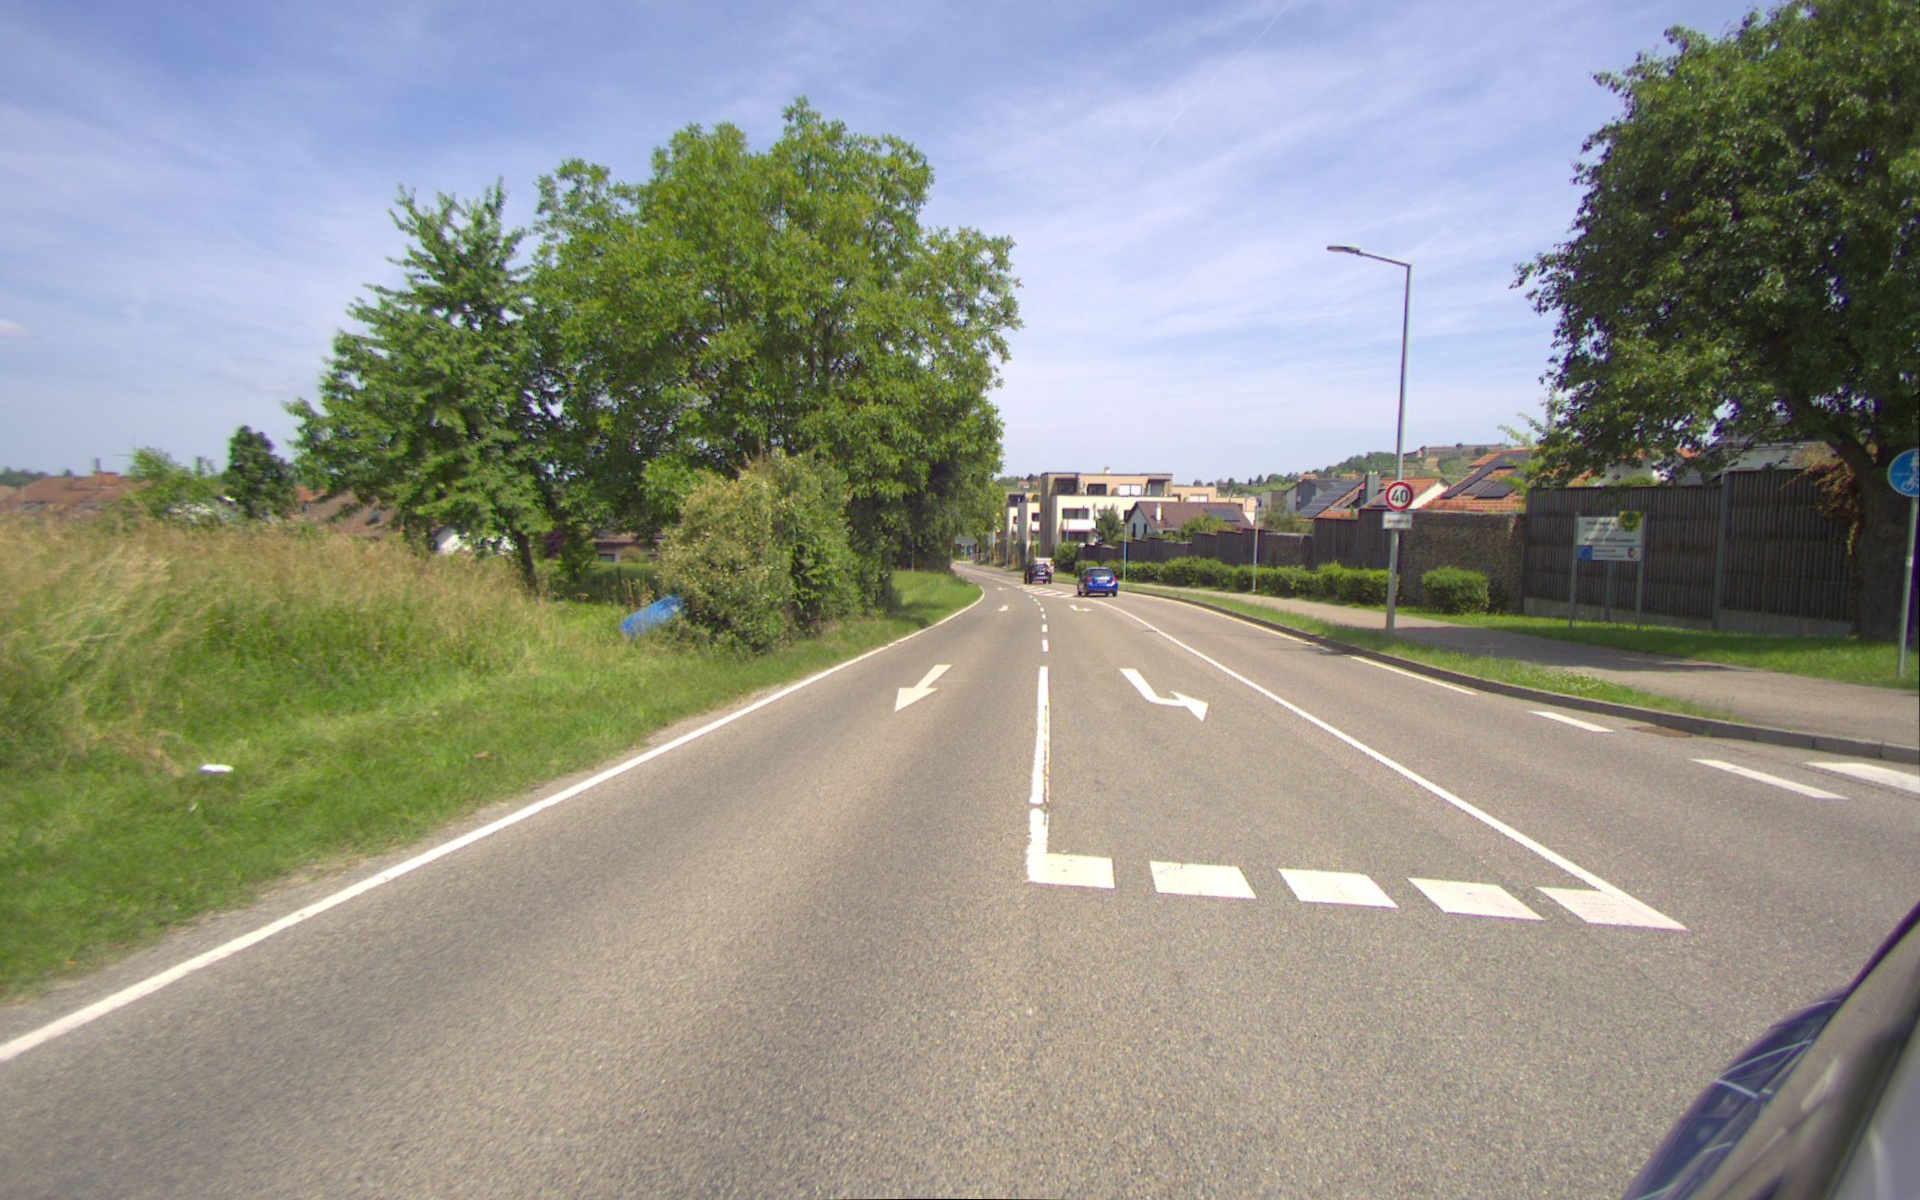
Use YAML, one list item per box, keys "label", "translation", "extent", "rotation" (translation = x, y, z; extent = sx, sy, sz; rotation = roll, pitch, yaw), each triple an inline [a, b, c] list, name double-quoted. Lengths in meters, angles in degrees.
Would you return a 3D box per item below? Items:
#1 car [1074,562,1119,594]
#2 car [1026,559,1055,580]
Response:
- label: "car"
  translation: [7.027, -1.138, 52.419]
  extent: [1.582, 1.510, 3.851]
  rotation: [-3, 2, -2]
- label: "car"
  translation: [6.414, -2.435, 81.161]
  extent: [1.794, 1.600, 4.004]
  rotation: [1, 2, -3]
